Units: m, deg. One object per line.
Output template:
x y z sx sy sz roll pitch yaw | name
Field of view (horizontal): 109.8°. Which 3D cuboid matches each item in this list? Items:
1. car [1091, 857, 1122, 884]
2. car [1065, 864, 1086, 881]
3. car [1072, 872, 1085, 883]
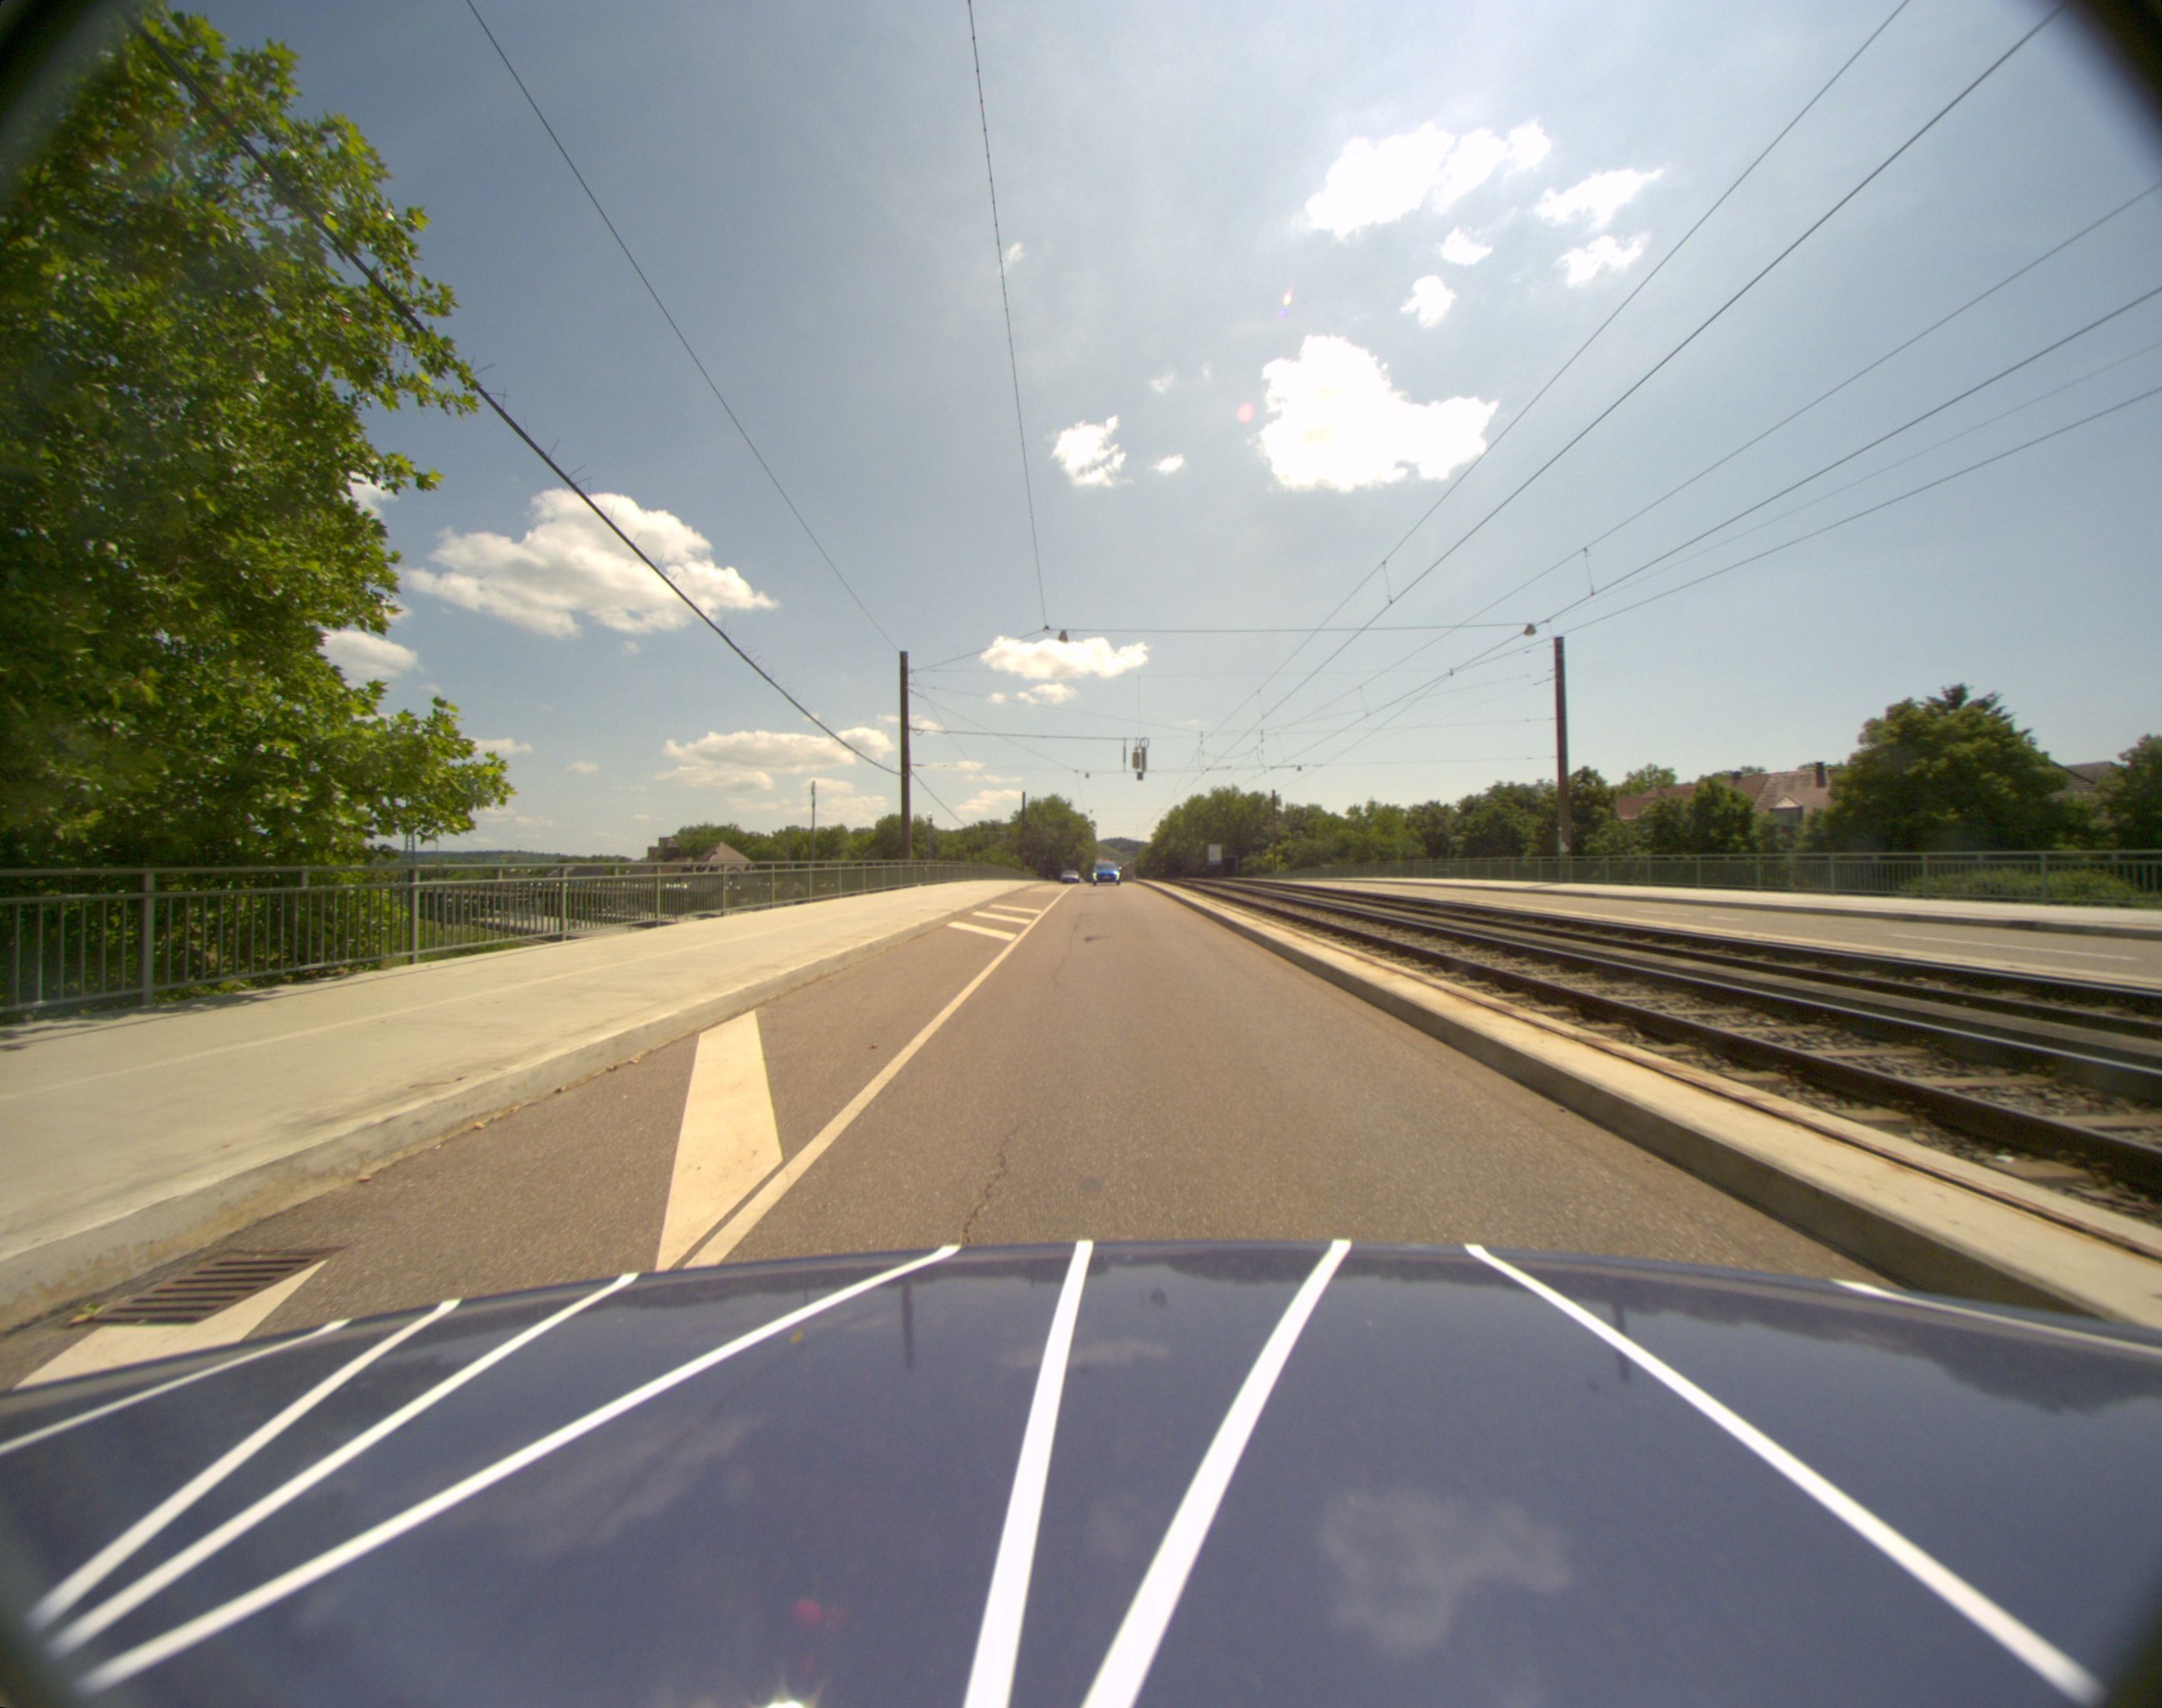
1.656 1.072 48.451 1.864 1.629 4.002 -2 -2 3 | car
-0.566 1.935 77.429 1.999 1.542 4.723 -2 -3 -1 | car
-0.304 3.153 101.568 1.689 1.350 4.595 -2 -3 -1 | car
